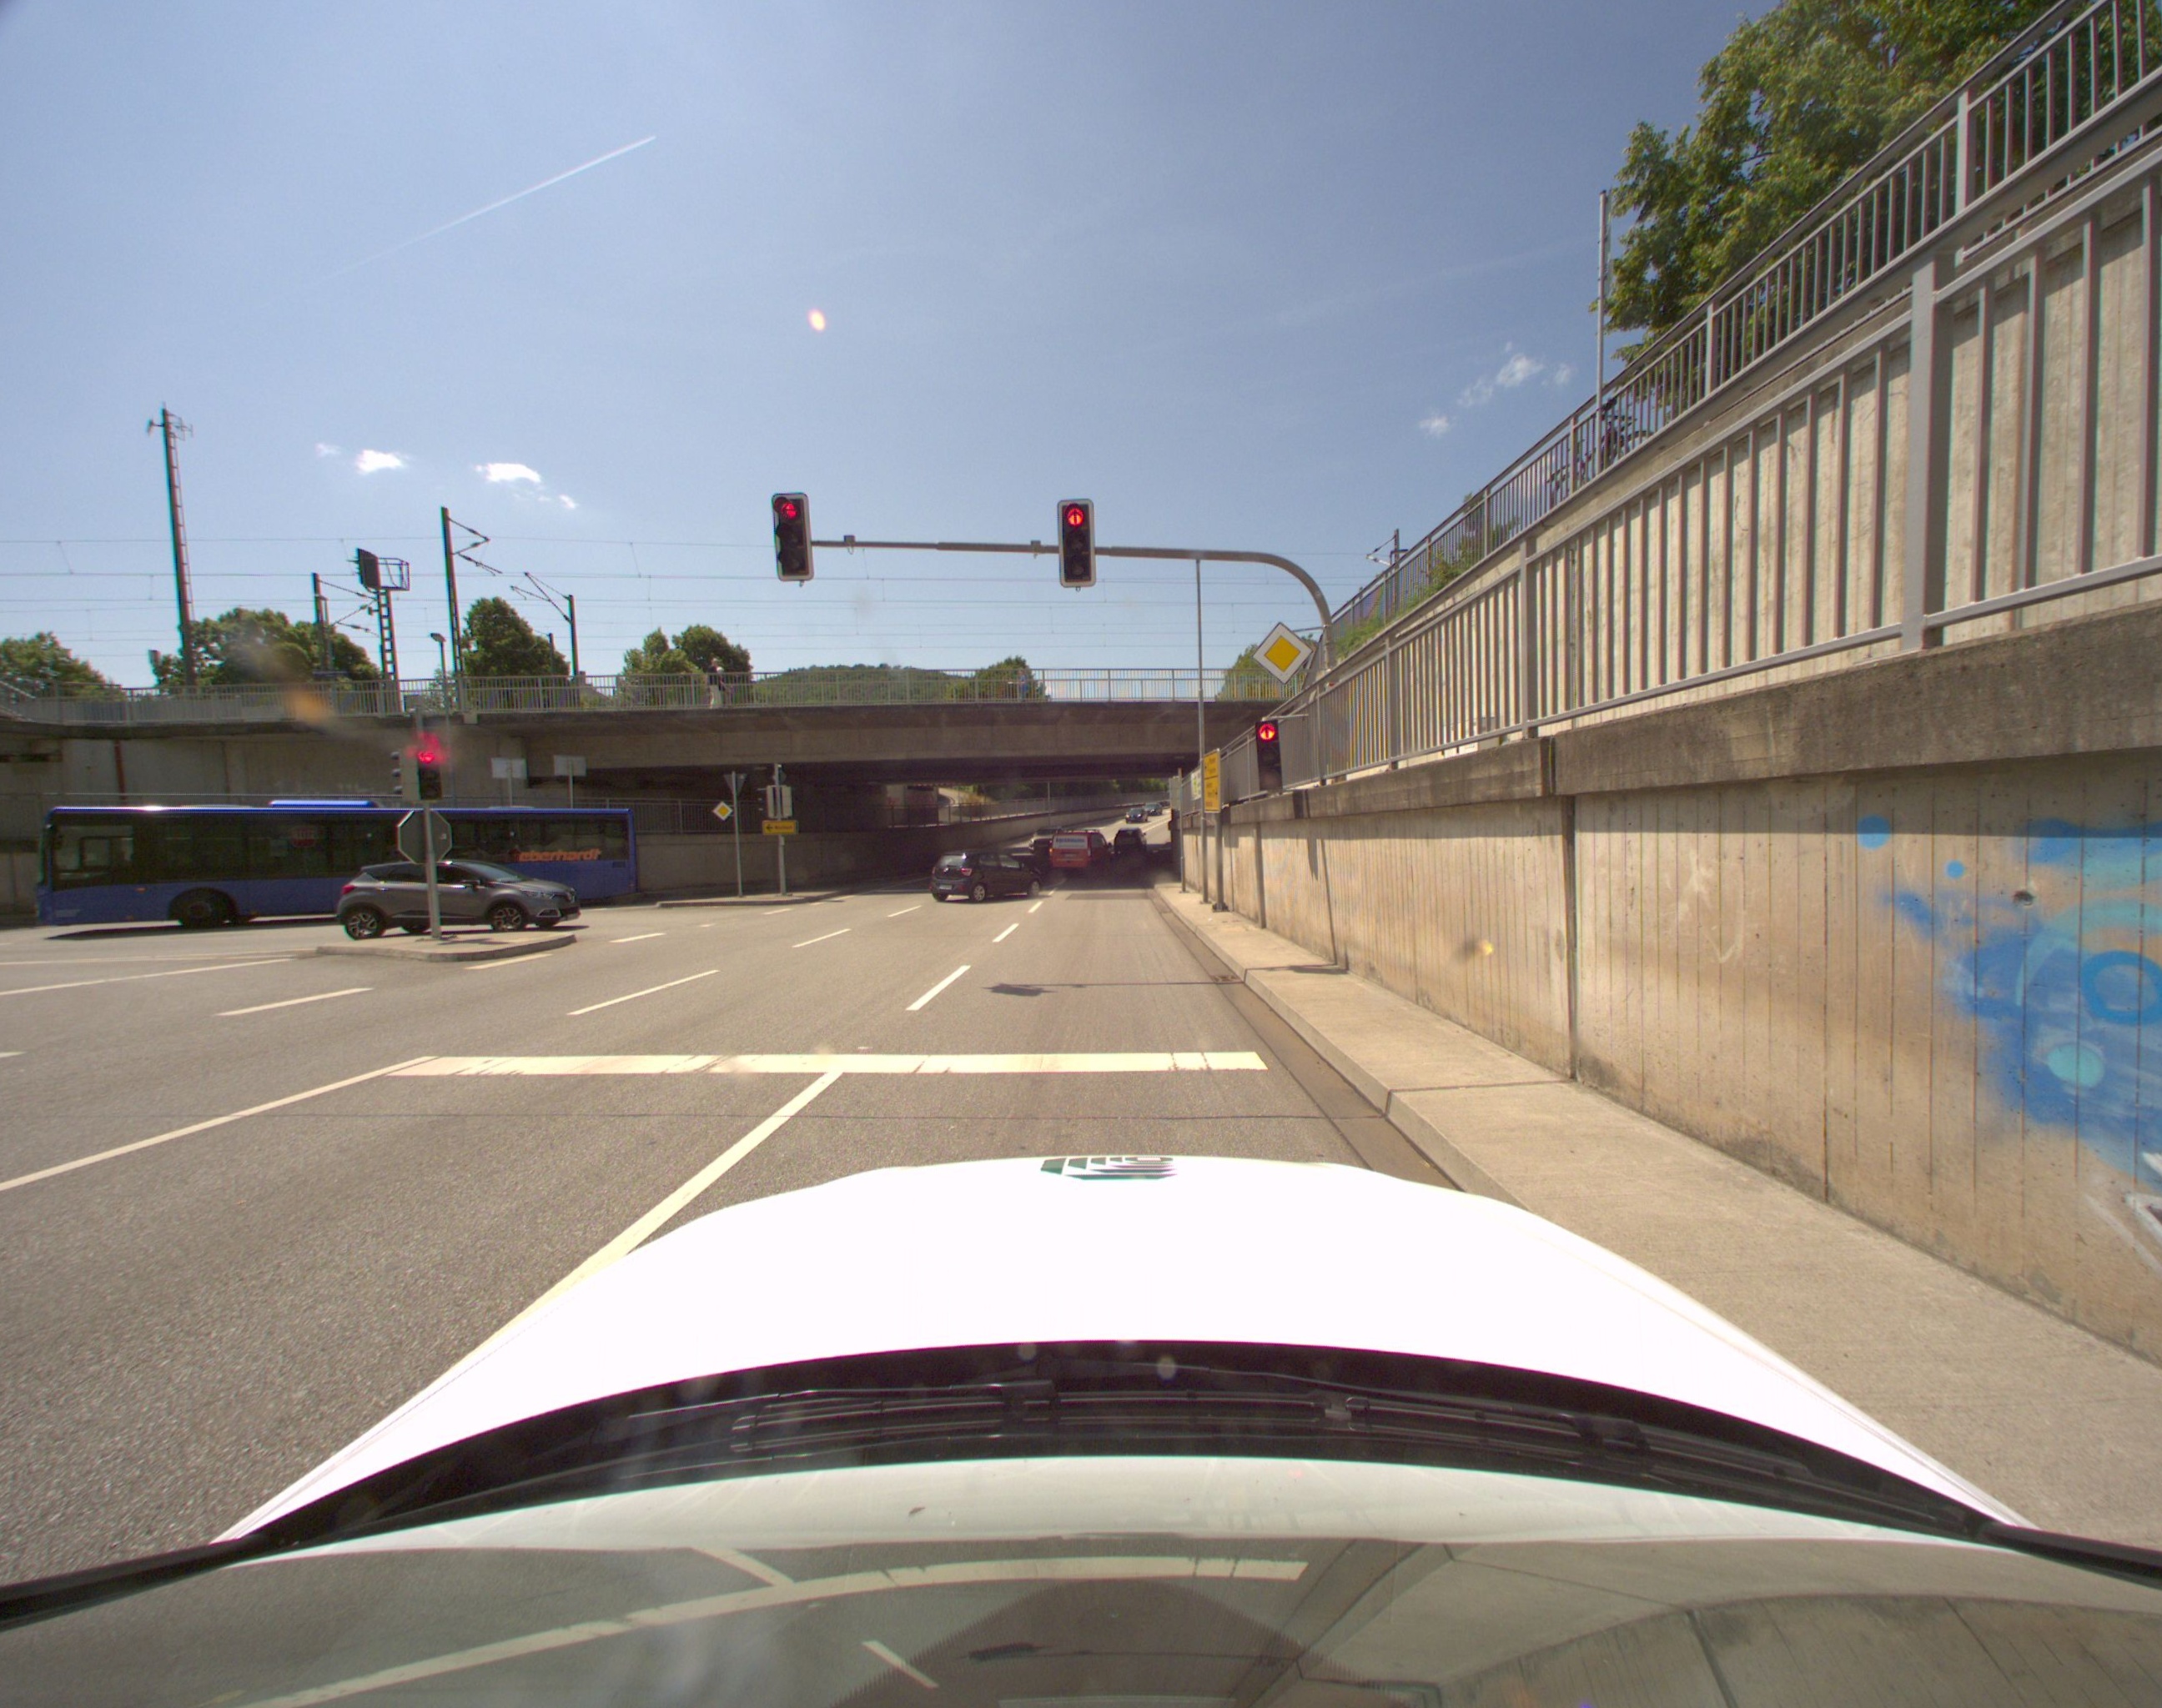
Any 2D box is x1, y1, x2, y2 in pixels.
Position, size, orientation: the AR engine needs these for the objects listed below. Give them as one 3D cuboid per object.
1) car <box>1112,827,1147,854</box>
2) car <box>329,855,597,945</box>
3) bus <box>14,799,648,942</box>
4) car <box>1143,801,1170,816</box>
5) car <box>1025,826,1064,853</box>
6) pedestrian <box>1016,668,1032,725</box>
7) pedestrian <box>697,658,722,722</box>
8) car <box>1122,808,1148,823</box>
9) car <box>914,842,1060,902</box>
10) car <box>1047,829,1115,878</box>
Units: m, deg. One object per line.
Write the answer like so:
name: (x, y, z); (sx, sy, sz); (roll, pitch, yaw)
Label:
car: (3.116, -0.910, 51.829); (1.793, 1.617, 4.012); (-1, 2, 9)
car: (-12.910, 0.902, 17.300); (3.984, 1.588, 1.995); (-2, 2, -8)
bus: (-19.242, 0.108, 22.691); (12.425, 3.172, 2.563); (-3, 3, -34)
car: (8.792, -5.258, 94.538); (1.976, 1.588, 4.022); (0, 2, 21)
car: (-2.326, -0.958, 52.671); (1.984, 1.627, 4.006); (-1, 2, 4)
pedestrian: (-2.186, -6.037, 31.257); (0.538, 2.081, 0.534); (-2, 0, -5)
pedestrian: (-12.660, -5.582, 27.744); (0.576, 2.081, 0.533); (-2, 0, -9)
car: (5.622, -3.998, 84.098); (1.768, 1.436, 4.019); (-1, 2, 17)
car: (-2.696, 0.452, 24.123); (1.974, 1.508, 4.026); (0, 2, 39)
car: (0.091, -0.093, 35.455); (1.859, 1.932, 4.738); (-1, 2, 14)
